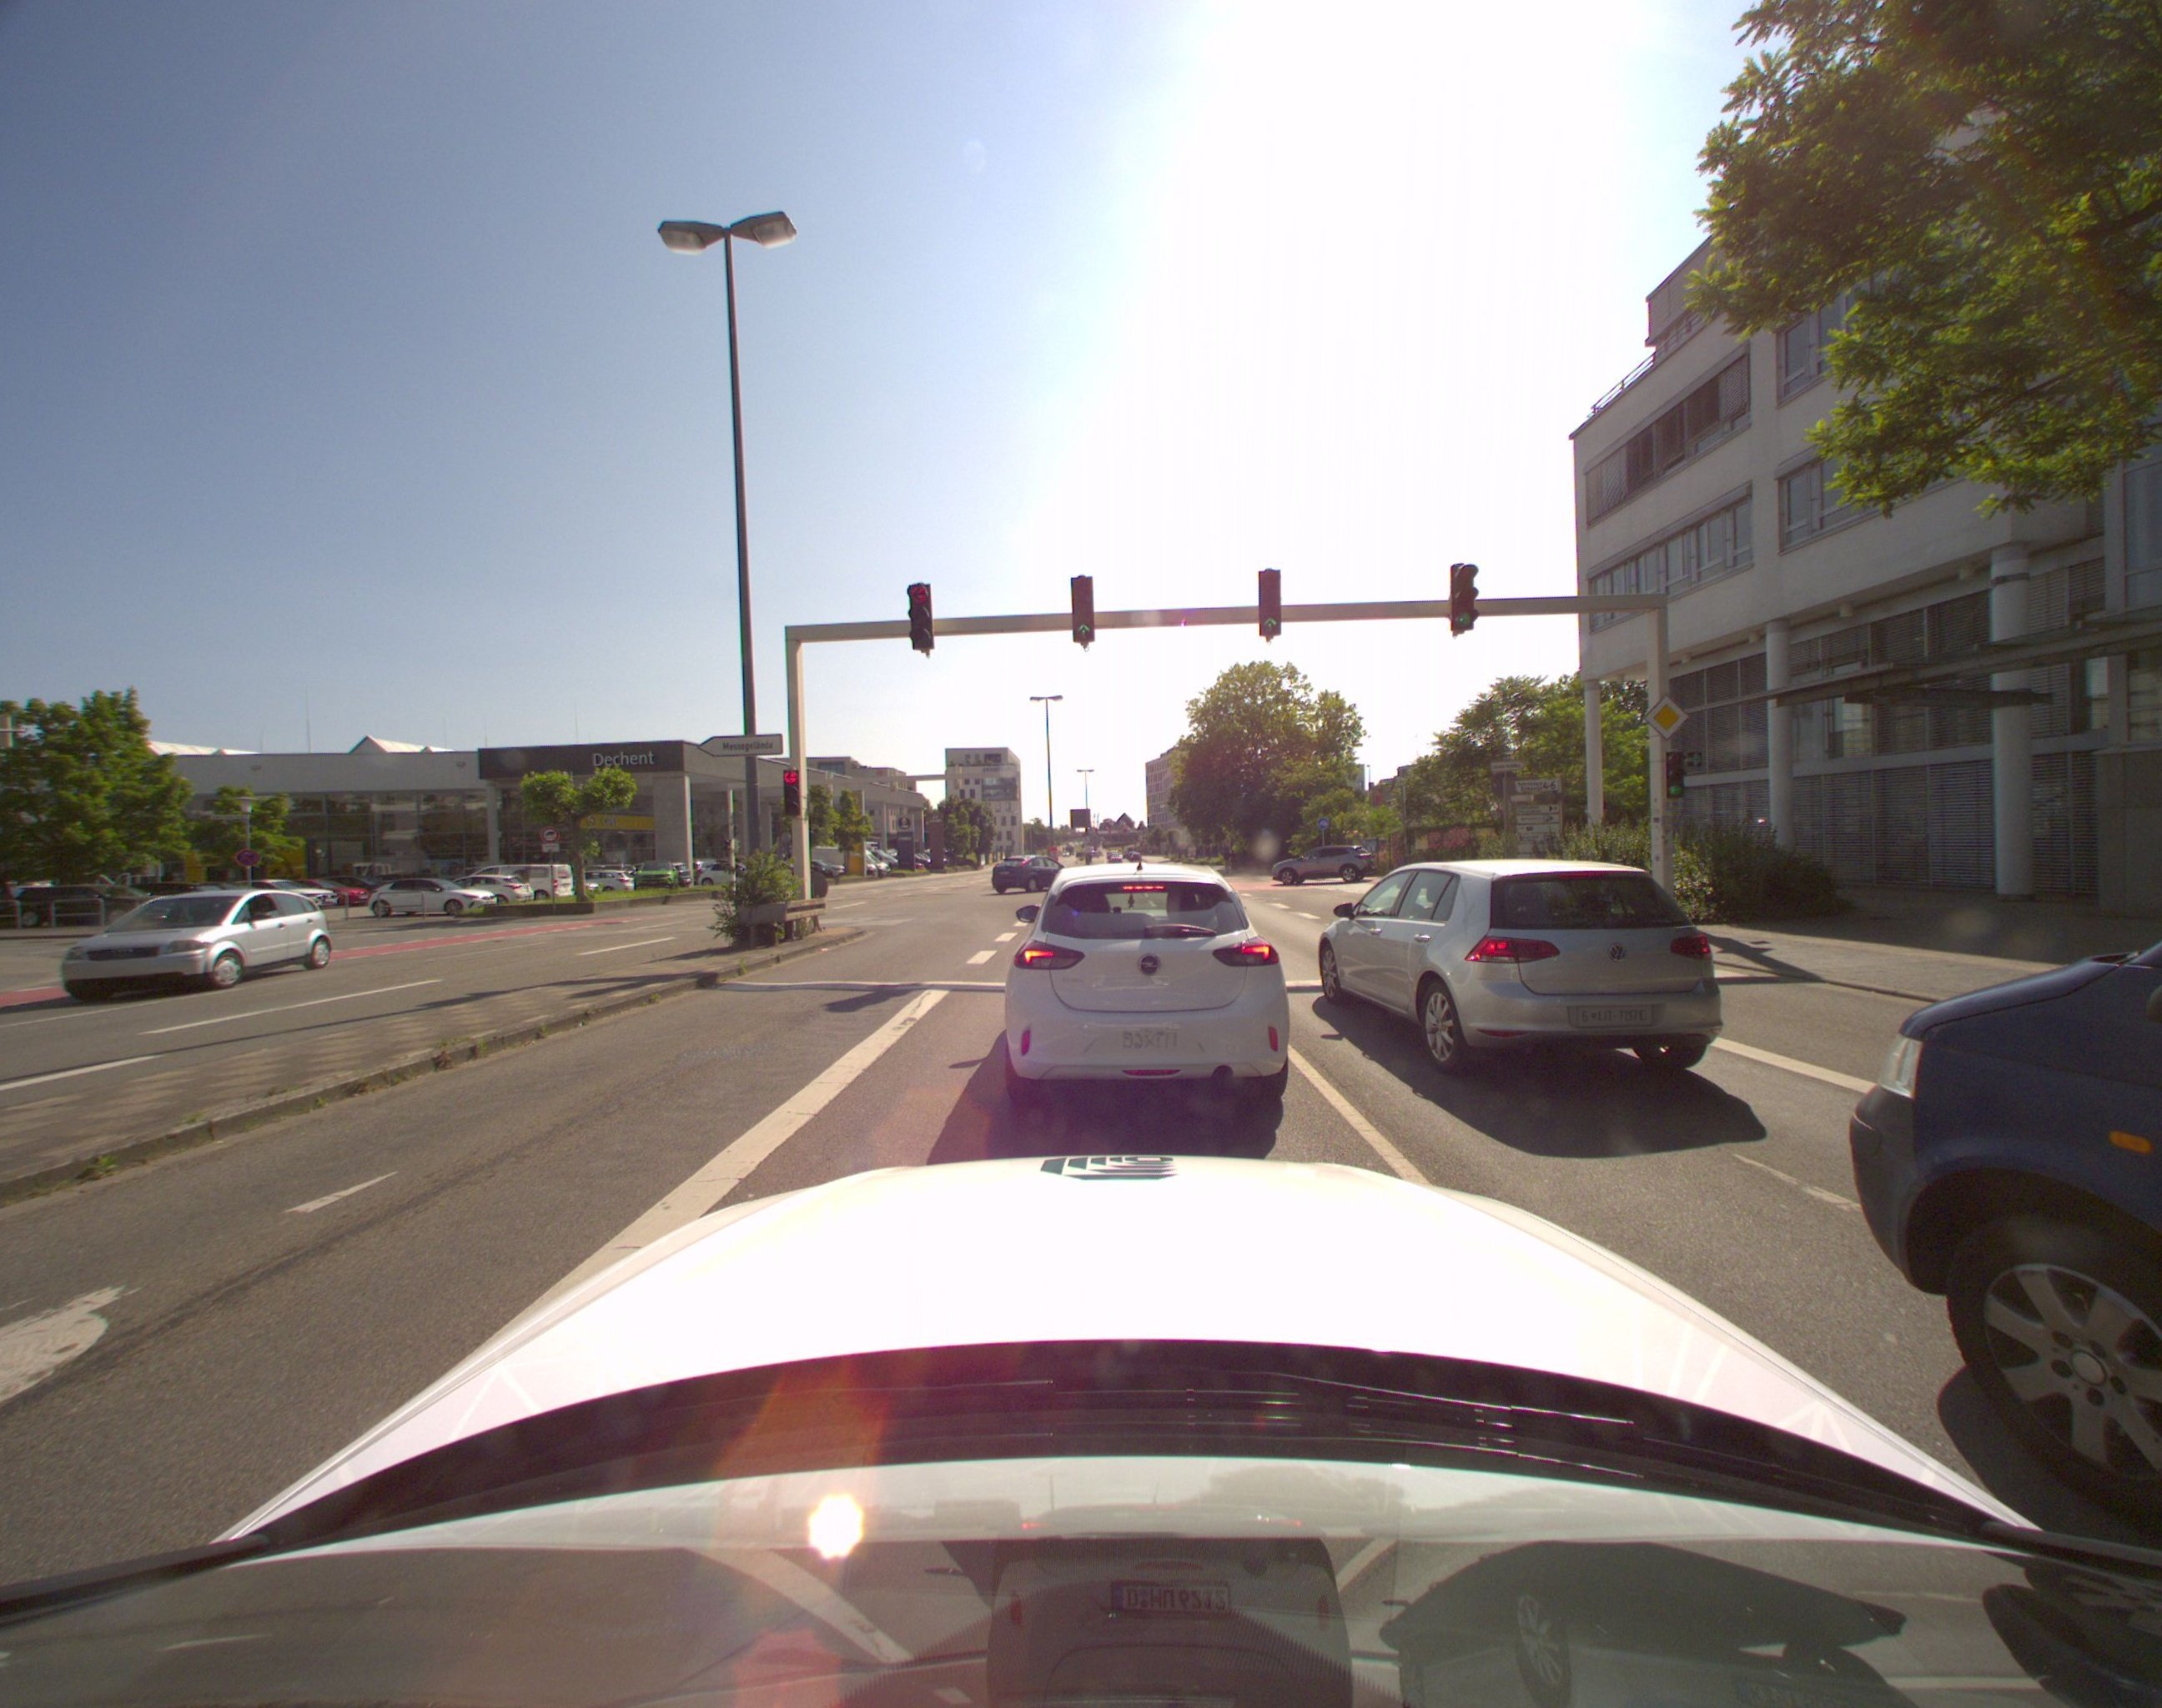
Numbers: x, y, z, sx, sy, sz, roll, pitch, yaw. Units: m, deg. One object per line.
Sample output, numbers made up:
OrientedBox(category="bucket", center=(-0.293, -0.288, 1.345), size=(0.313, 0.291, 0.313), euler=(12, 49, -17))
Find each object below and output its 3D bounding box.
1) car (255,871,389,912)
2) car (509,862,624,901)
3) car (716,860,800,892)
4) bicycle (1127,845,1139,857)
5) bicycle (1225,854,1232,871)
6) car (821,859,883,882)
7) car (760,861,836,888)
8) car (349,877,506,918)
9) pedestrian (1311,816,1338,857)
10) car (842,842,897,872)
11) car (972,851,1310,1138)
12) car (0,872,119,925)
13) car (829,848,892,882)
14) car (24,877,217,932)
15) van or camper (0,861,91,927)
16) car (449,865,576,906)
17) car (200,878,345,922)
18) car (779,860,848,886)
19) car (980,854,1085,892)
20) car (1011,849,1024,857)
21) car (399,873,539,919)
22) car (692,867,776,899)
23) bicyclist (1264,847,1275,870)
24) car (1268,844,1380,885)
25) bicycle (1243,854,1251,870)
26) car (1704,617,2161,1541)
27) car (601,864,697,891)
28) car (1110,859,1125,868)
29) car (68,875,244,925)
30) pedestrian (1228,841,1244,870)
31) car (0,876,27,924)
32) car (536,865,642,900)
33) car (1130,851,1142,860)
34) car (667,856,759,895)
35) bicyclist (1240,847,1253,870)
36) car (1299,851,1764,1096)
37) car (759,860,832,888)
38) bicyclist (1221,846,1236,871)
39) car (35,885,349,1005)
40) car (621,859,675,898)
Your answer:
OrientedBox(category="car", center=(-36.621, 1.776, 39.415), size=(4.352, 1.696, 1.995), euler=(-2, 0, -7))
OrientedBox(category="car", center=(-25.769, 1.351, 40.946), size=(4.353, 1.696, 1.995), euler=(-2, 0, -7))
OrientedBox(category="car", center=(-19.605, 1.329, 49.584), size=(4.284, 1.765, 1.999), euler=(-2, 0, -1))
OrientedBox(category="bicycle", center=(9.902, -0.520, 155.450), size=(1.986, 2.157, 4.001), euler=(-2, 0, 1))
OrientedBox(category="bicycle", center=(10.721, 0.624, 59.234), size=(0.371, 1.216, 1.154), euler=(0, 0, 2))
OrientedBox(category="car", center=(-18.509, 1.336, 65.904), size=(4.334, 1.696, 2.004), euler=(-2, 0, 6))
OrientedBox(category="car", center=(-18.986, 1.351, 54.710), size=(4.343, 1.696, 1.999), euler=(-2, 0, -1))
OrientedBox(category="car", center=(-25.469, 1.676, 31.867), size=(4.348, 1.300, 1.997), euler=(-2, 0, -4))
OrientedBox(category="pedestrian", center=(12.387, -0.881, 41.481), size=(1.023, 2.013, 1.039), euler=(-2, 0, 1))
OrientedBox(category="car", center=(-19.101, 0.268, 73.690), size=(4.334, 2.601, 2.004), euler=(-2, 0, 6))
OrientedBox(category="car", center=(0.378, 0.759, 6.390), size=(1.773, 1.494, 4.001), euler=(-2, 0, 1))
OrientedBox(category="car", center=(-43.164, 1.822, 33.699), size=(3.984, 2.013, 1.995), euler=(-2, 0, -8))
OrientedBox(category="car", center=(-18.476, 0.937, 68.355), size=(4.469, 2.684, 2.134), euler=(-2, 0, 10))
OrientedBox(category="car", center=(-34.734, 1.800, 29.558), size=(4.348, 1.696, 1.997), euler=(-2, 0, -4))
OrientedBox(category="van or camper", center=(-41.949, 1.572, 31.340), size=(4.711, 2.400, 1.995), euler=(-2, 0, -8))
OrientedBox(category="car", center=(-26.553, 1.440, 38.176), size=(4.353, 1.696, 1.995), euler=(-2, 0, -7))
OrientedBox(category="car", center=(-36.638, 2.058, 37.016), size=(4.348, 1.696, 1.997), euler=(-2, 0, -4))
OrientedBox(category="car", center=(-19.751, 1.364, 60.221), size=(4.344, 1.696, 1.999), euler=(-2, 0, -1))
OrientedBox(category="car", center=(-1.915, 0.740, 33.467), size=(1.974, 1.447, 4.399), euler=(-1, 0, 35))
OrientedBox(category="car", center=(-11.162, -0.131, 142.780), size=(1.799, 1.386, 4.001), euler=(0, -1, 2))
OrientedBox(category="car", center=(-26.237, 1.776, 35.059), size=(4.348, 1.696, 1.997), euler=(-2, 0, -4))
OrientedBox(category="car", center=(-19.925, 1.646, 46.911), size=(3.981, 1.599, 1.996), euler=(-2, 0, -6))
OrientedBox(category="bicyclist", center=(13.817, 0.350, 59.718), size=(0.650, 1.637, 0.660), euler=(0, -1, 3))
OrientedBox(category="car", center=(10.770, 0.455, 36.169), size=(4.377, 1.551, 2.012), euler=(-4, -1, 28))
OrientedBox(category="bicycle", center=(11.877, 0.551, 58.362), size=(0.372, 1.147, 1.034), euler=(0, -1, 0))
OrientedBox(category="car", center=(3.220, 0.442, 0.497), size=(1.986, 1.948, 4.892), euler=(-2, -1, 2))
OrientedBox(category="car", center=(-24.706, 1.372, 46.681), size=(4.352, 1.268, 1.995), euler=(-3, -2, -7))
OrientedBox(category="car", center=(5.209, 1.329, 116.041), size=(1.987, 1.331, 3.998), euler=(0, -1, -1))
OrientedBox(category="car", center=(-36.214, 1.767, 31.994), size=(4.348, 1.696, 1.997), euler=(-2, 0, -4))
OrientedBox(category="pedestrian", center=(11.957, 0.125, 62.812), size=(1.023, 2.238, 1.039), euler=(-2, 0, 1))
OrientedBox(category="car", center=(-40.607, 1.710, 28.333), size=(4.371, 1.696, 1.987), euler=(-2, 0, -20))
OrientedBox(category="car", center=(-26.262, 1.497, 43.574), size=(4.352, 1.591, 1.996), euler=(-2, 0, -7))
OrientedBox(category="car", center=(9.094, 0.232, 135.280), size=(1.799, 1.386, 4.001), euler=(0, -1, 2))
OrientedBox(category="car", center=(-19.261, 1.091, 42.780), size=(3.859, 1.837, 1.999), euler=(-2, 0, -1))
OrientedBox(category="bicyclist", center=(11.883, 0.317, 58.407), size=(0.687, 1.643, 0.775), euler=(-2, 0, -7))
OrientedBox(category="car", center=(3.264, 0.742, 6.939), size=(1.800, 1.429, 4.001), euler=(-2, -1, 1))
OrientedBox(category="car", center=(-19.915, 1.377, 56.964), size=(4.344, 1.696, 1.999), euler=(-2, 0, -1))
OrientedBox(category="bicyclist", center=(10.712, 0.340, 59.248), size=(0.876, 1.772, 0.864), euler=(-2, 0, 1))
OrientedBox(category="car", center=(-14.316, 1.356, 13.487), size=(1.778, 1.438, 3.890), euler=(-4, 1, -19))
OrientedBox(category="car", center=(-21.255, 1.216, 39.958), size=(1.915, 1.733, 3.258), euler=(-2, -1, -35))
